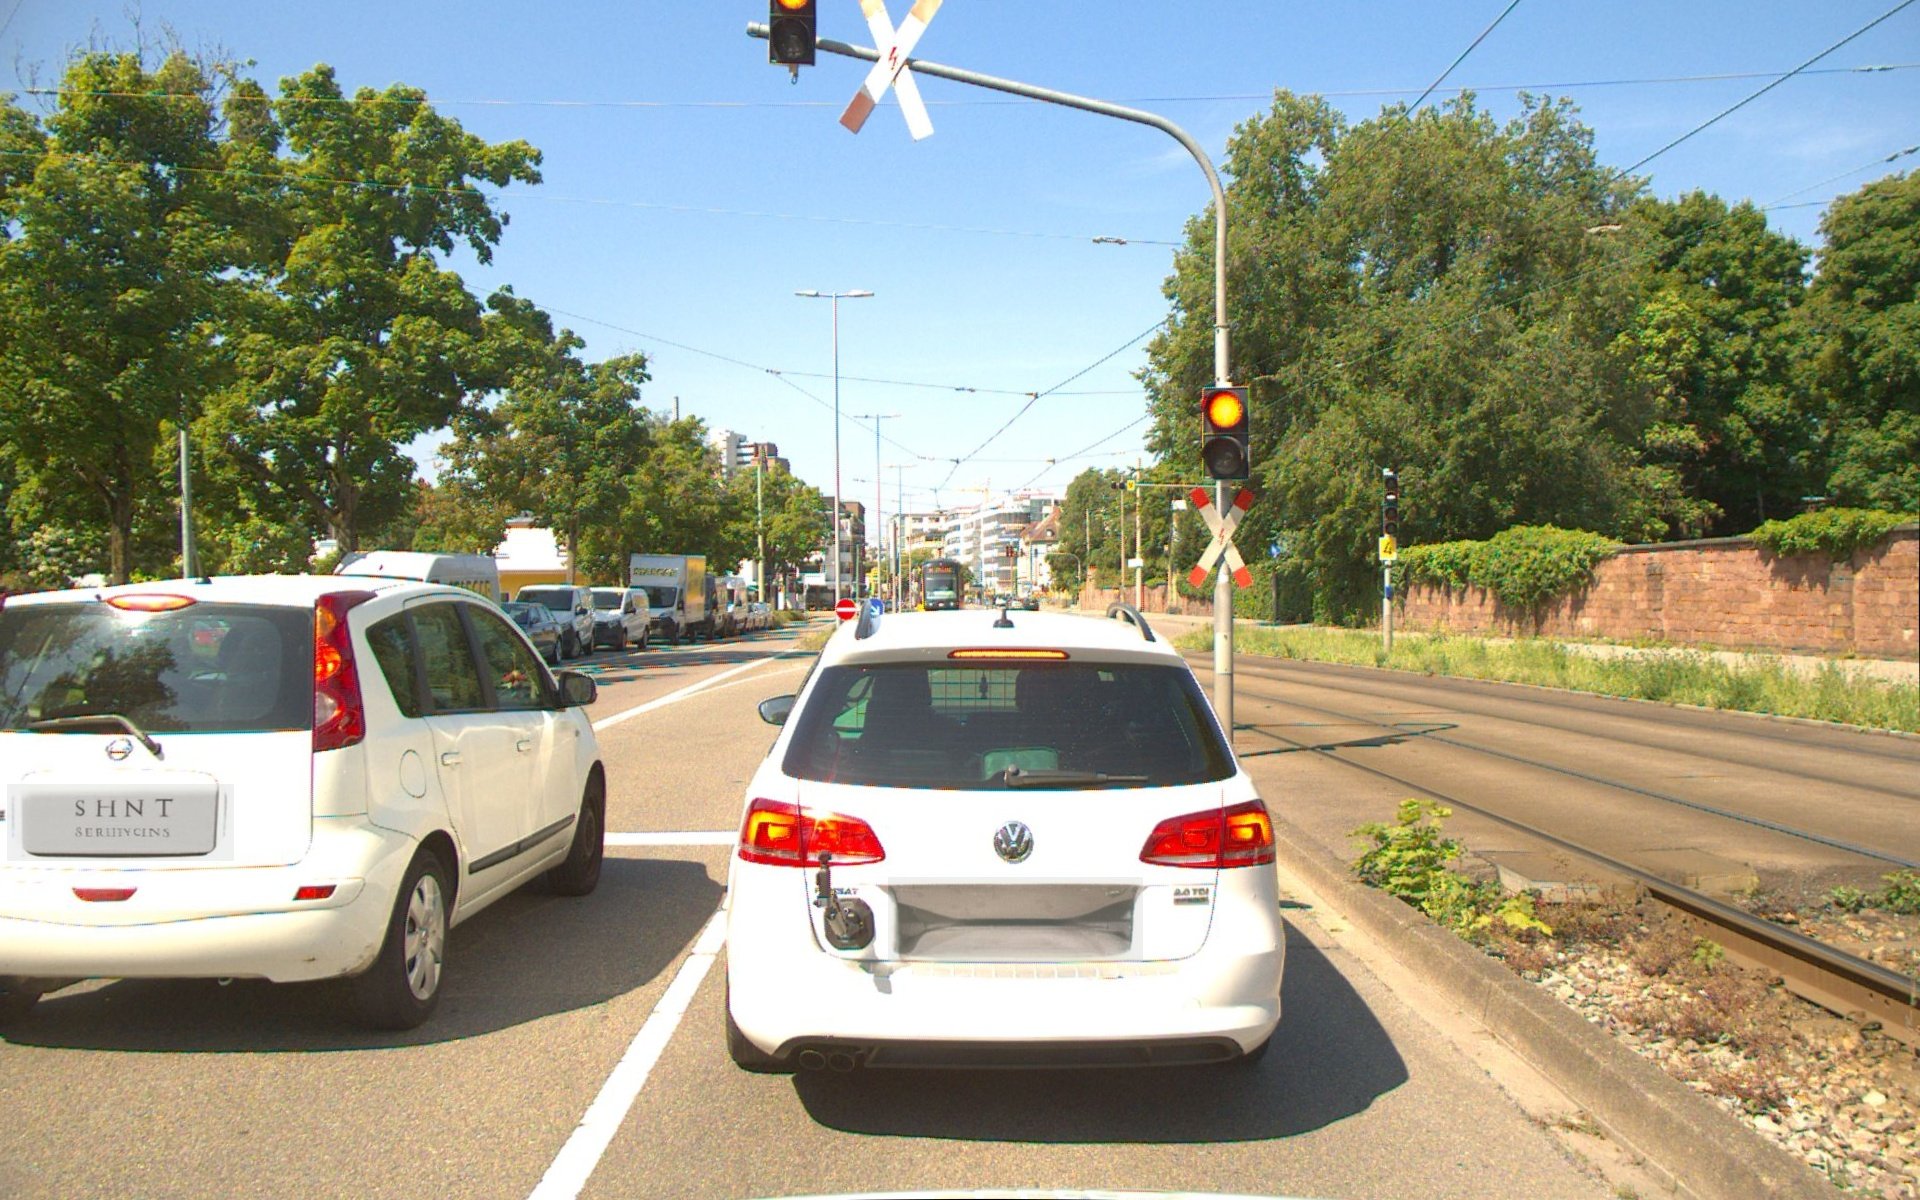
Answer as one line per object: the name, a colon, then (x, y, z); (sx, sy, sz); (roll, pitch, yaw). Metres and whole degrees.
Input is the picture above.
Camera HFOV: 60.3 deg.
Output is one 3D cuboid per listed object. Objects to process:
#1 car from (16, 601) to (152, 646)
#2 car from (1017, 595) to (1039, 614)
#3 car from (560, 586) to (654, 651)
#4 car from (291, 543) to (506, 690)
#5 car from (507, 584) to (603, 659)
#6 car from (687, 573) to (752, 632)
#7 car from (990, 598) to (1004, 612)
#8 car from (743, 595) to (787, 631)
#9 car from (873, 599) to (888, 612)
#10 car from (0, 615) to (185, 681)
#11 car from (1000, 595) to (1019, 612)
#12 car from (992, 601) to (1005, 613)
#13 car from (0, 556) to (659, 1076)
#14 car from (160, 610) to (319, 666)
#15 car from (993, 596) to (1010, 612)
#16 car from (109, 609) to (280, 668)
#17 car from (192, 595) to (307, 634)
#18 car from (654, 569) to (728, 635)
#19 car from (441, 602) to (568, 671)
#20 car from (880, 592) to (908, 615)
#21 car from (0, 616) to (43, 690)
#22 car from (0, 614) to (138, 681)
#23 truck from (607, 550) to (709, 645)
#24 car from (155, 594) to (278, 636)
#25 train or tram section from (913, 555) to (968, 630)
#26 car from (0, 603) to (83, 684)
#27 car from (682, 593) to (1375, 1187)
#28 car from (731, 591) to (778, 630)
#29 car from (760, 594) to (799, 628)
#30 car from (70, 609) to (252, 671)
car: (-37.770, 0.998, 71.386); (4.698, 1.819, 2.062); (1, 0, -5)
car: (7.093, 0.457, 172.797); (1.826, 1.900, 5.060); (1, 0, -2)
car: (-10.961, 0.539, 51.729); (1.826, 1.900, 5.412); (1, 0, -1)
car: (-10.766, 0.283, 32.255); (2.079, 2.560, 5.817); (1, 0, 1)
car: (-10.973, 0.541, 45.145); (1.827, 1.900, 5.068); (1, 0, -6)
car: (-10.929, 0.112, 75.589); (2.079, 2.560, 5.733); (1, 0, 0)
car: (5.406, 0.715, 243.478); (1.826, 1.900, 5.060); (1, 0, -2)
car: (-10.754, 0.705, 91.513); (1.826, 1.900, 5.412); (1, 0, -1)
car: (-9.489, 0.678, 196.751); (1.672, 1.499, 4.585); (-1, 0, -4)
car: (-21.728, 1.178, 41.247); (3.909, 1.440, 1.728); (-2, 0, -5)
car: (5.686, 0.419, 188.920); (1.826, 1.900, 5.060); (1, 0, -2)
car: (6.041, 1.071, 261.450); (1.826, 1.900, 5.060); (1, 0, -2)
car: (-2.560, 0.644, 7.292); (1.628, 1.575, 4.546); (0, 0, 0)
car: (-21.272, 1.113, 48.934); (3.909, 1.440, 1.728); (-2, 0, -5)
car: (5.140, 0.449, 204.000); (1.826, 1.900, 5.060); (1, 0, -2)
car: (-21.284, 1.068, 46.117); (3.909, 1.440, 1.728); (-2, 0, -5)
car: (-34.891, 0.693, 81.305); (4.698, 1.819, 2.062); (1, 0, -5)
car: (-11.004, 0.076, 68.152); (2.079, 2.560, 5.733); (1, 0, 0)
car: (-10.550, 0.811, 38.578); (1.826, 1.440, 4.278); (1, 0, -1)
car: (-4.481, 0.223, 112.491); (1.670, 1.499, 4.589); (-1, 0, 0)
car: (-20.729, 1.131, 32.929); (3.909, 1.440, 1.728); (-2, 0, -5)
car: (-21.613, 1.125, 38.640); (3.909, 1.440, 1.728); (-2, 0, -5)
truck: (-10.881, -0.100, 60.154); (2.371, 3.205, 6.996); (1, 0, 0)
car: (-34.375, 0.682, 76.566); (4.698, 1.819, 2.062); (1, 0, -5)
train or tram section: (-1.120, -0.421, 93.670); (2.812, 3.923, 12.389); (-1, 0, -1)
car: (-21.073, 0.972, 35.123); (3.909, 1.638, 1.728); (-2, 0, -5)
car: (0.149, 0.723, 6.192); (1.726, 1.455, 3.999); (-1, 0, -1)
car: (-10.483, 0.516, 84.703); (1.826, 1.900, 5.412); (1, 0, -1)
car: (-10.699, 0.642, 98.430); (1.826, 1.900, 5.412); (1, 0, -1)
car: (-21.105, 1.035, 43.789); (3.909, 1.440, 1.728); (-2, 0, -5)
